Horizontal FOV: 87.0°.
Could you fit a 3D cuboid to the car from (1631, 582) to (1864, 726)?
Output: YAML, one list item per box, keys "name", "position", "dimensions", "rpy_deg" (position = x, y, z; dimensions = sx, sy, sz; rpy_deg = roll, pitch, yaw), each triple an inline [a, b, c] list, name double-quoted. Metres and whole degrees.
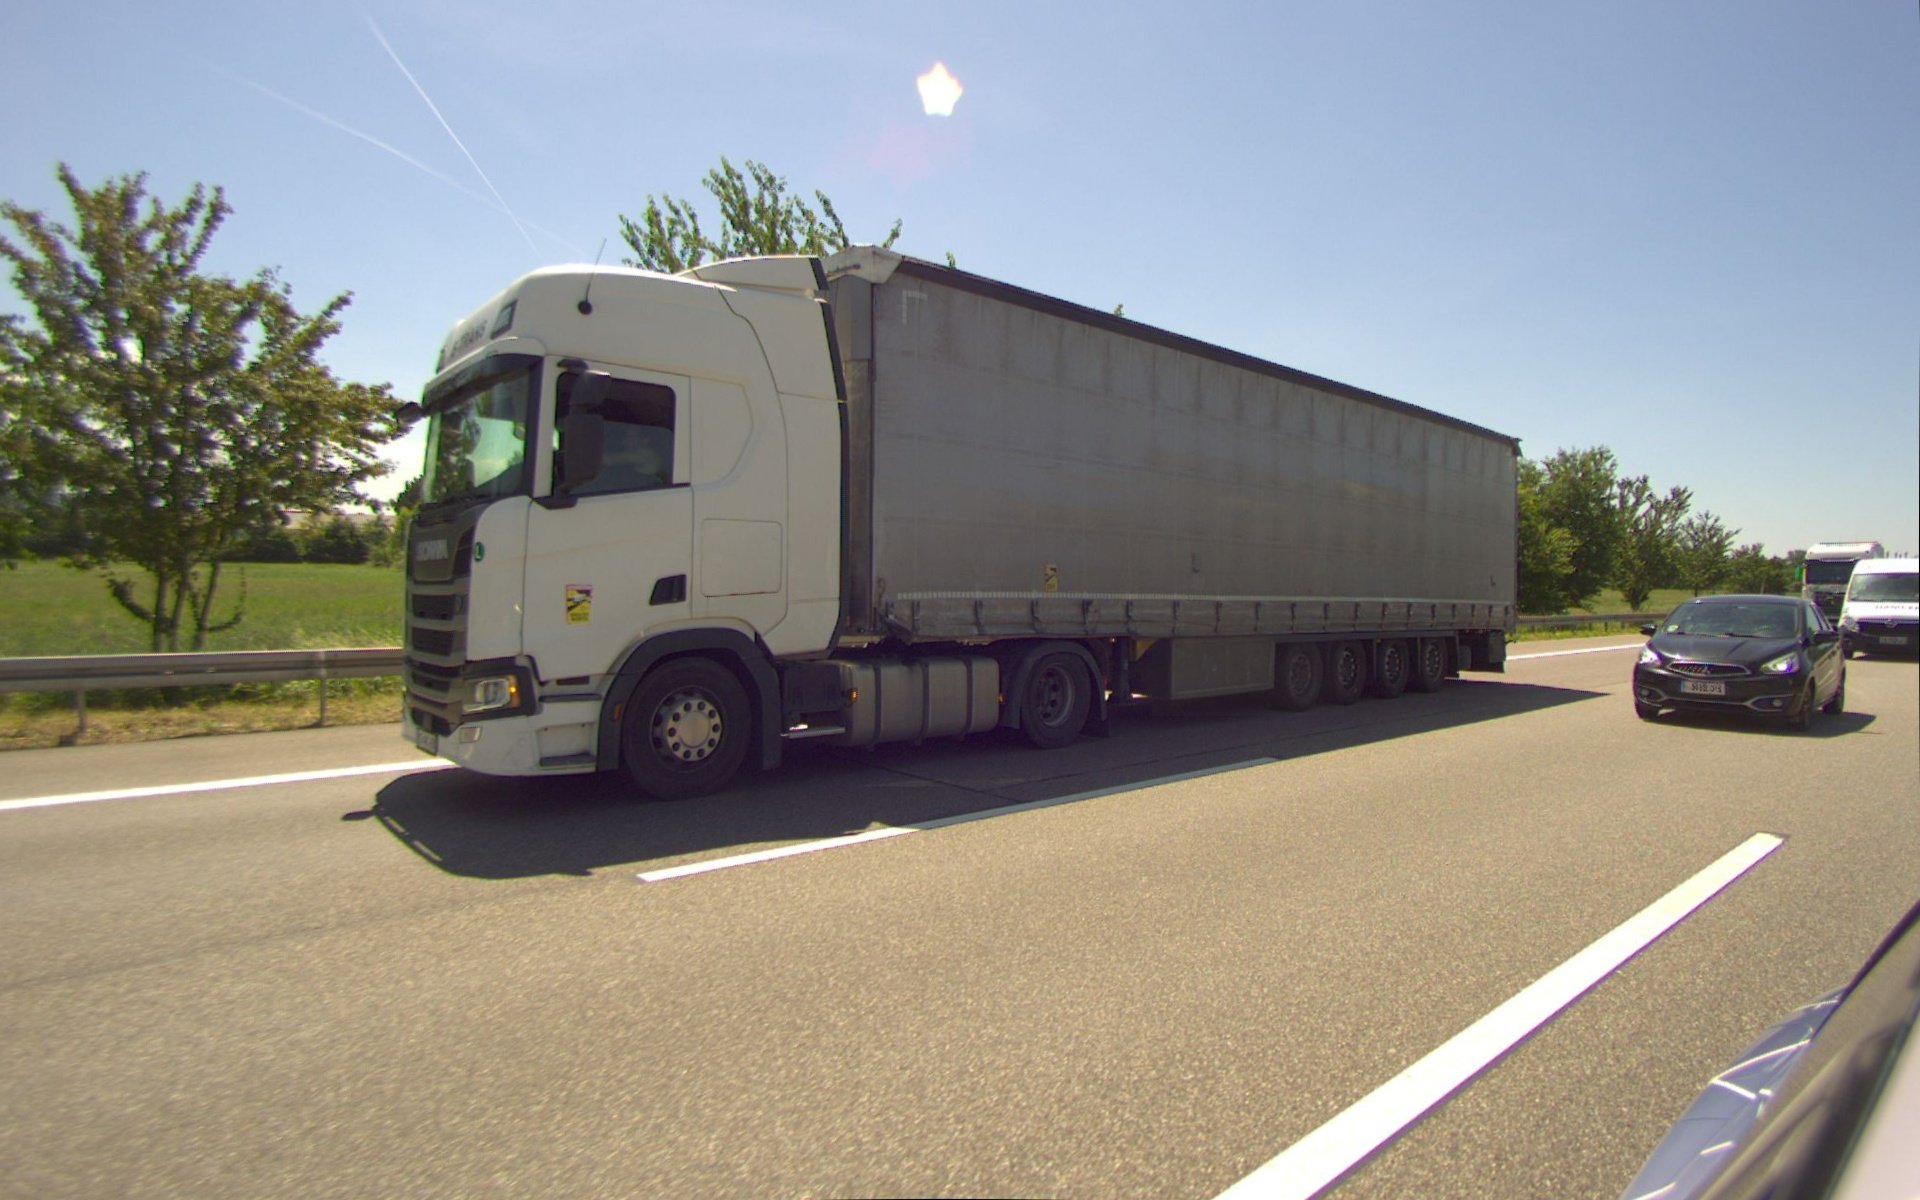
- name: "car"
  position: [9.680, 0.551, 12.360]
  dimensions: [3.374, 1.492, 1.690]
  rpy_deg: [0, 1, -42]

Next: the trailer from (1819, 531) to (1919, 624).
- name: "trailer"
  position: [45.213, -1.009, 49.149]
  dimensions: [13.706, 4.016, 2.699]
  rpy_deg: [0, 0, -38]

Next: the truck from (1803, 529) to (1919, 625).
- name: "truck"
  position: [40.692, -0.989, 45.561]
  dimensions: [7.563, 4.016, 2.699]
  rpy_deg: [0, 0, -38]

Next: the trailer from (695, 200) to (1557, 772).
- name: "trailer"
  position: [3.646, -0.940, 13.324]
  dimensions: [14.002, 4.358, 2.815]
  rpy_deg: [-1, 0, -40]

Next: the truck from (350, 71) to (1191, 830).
- name: "truck"
  position: [-1.224, -0.901, 9.182]
  dimensions: [7.066, 4.359, 2.815]
  rpy_deg: [0, 0, -40]

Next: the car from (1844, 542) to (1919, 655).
- name: "car"
  position: [23.699, -0.062, 24.947]
  dimensions: [5.843, 2.540, 2.157]
  rpy_deg: [-1, 0, -42]
